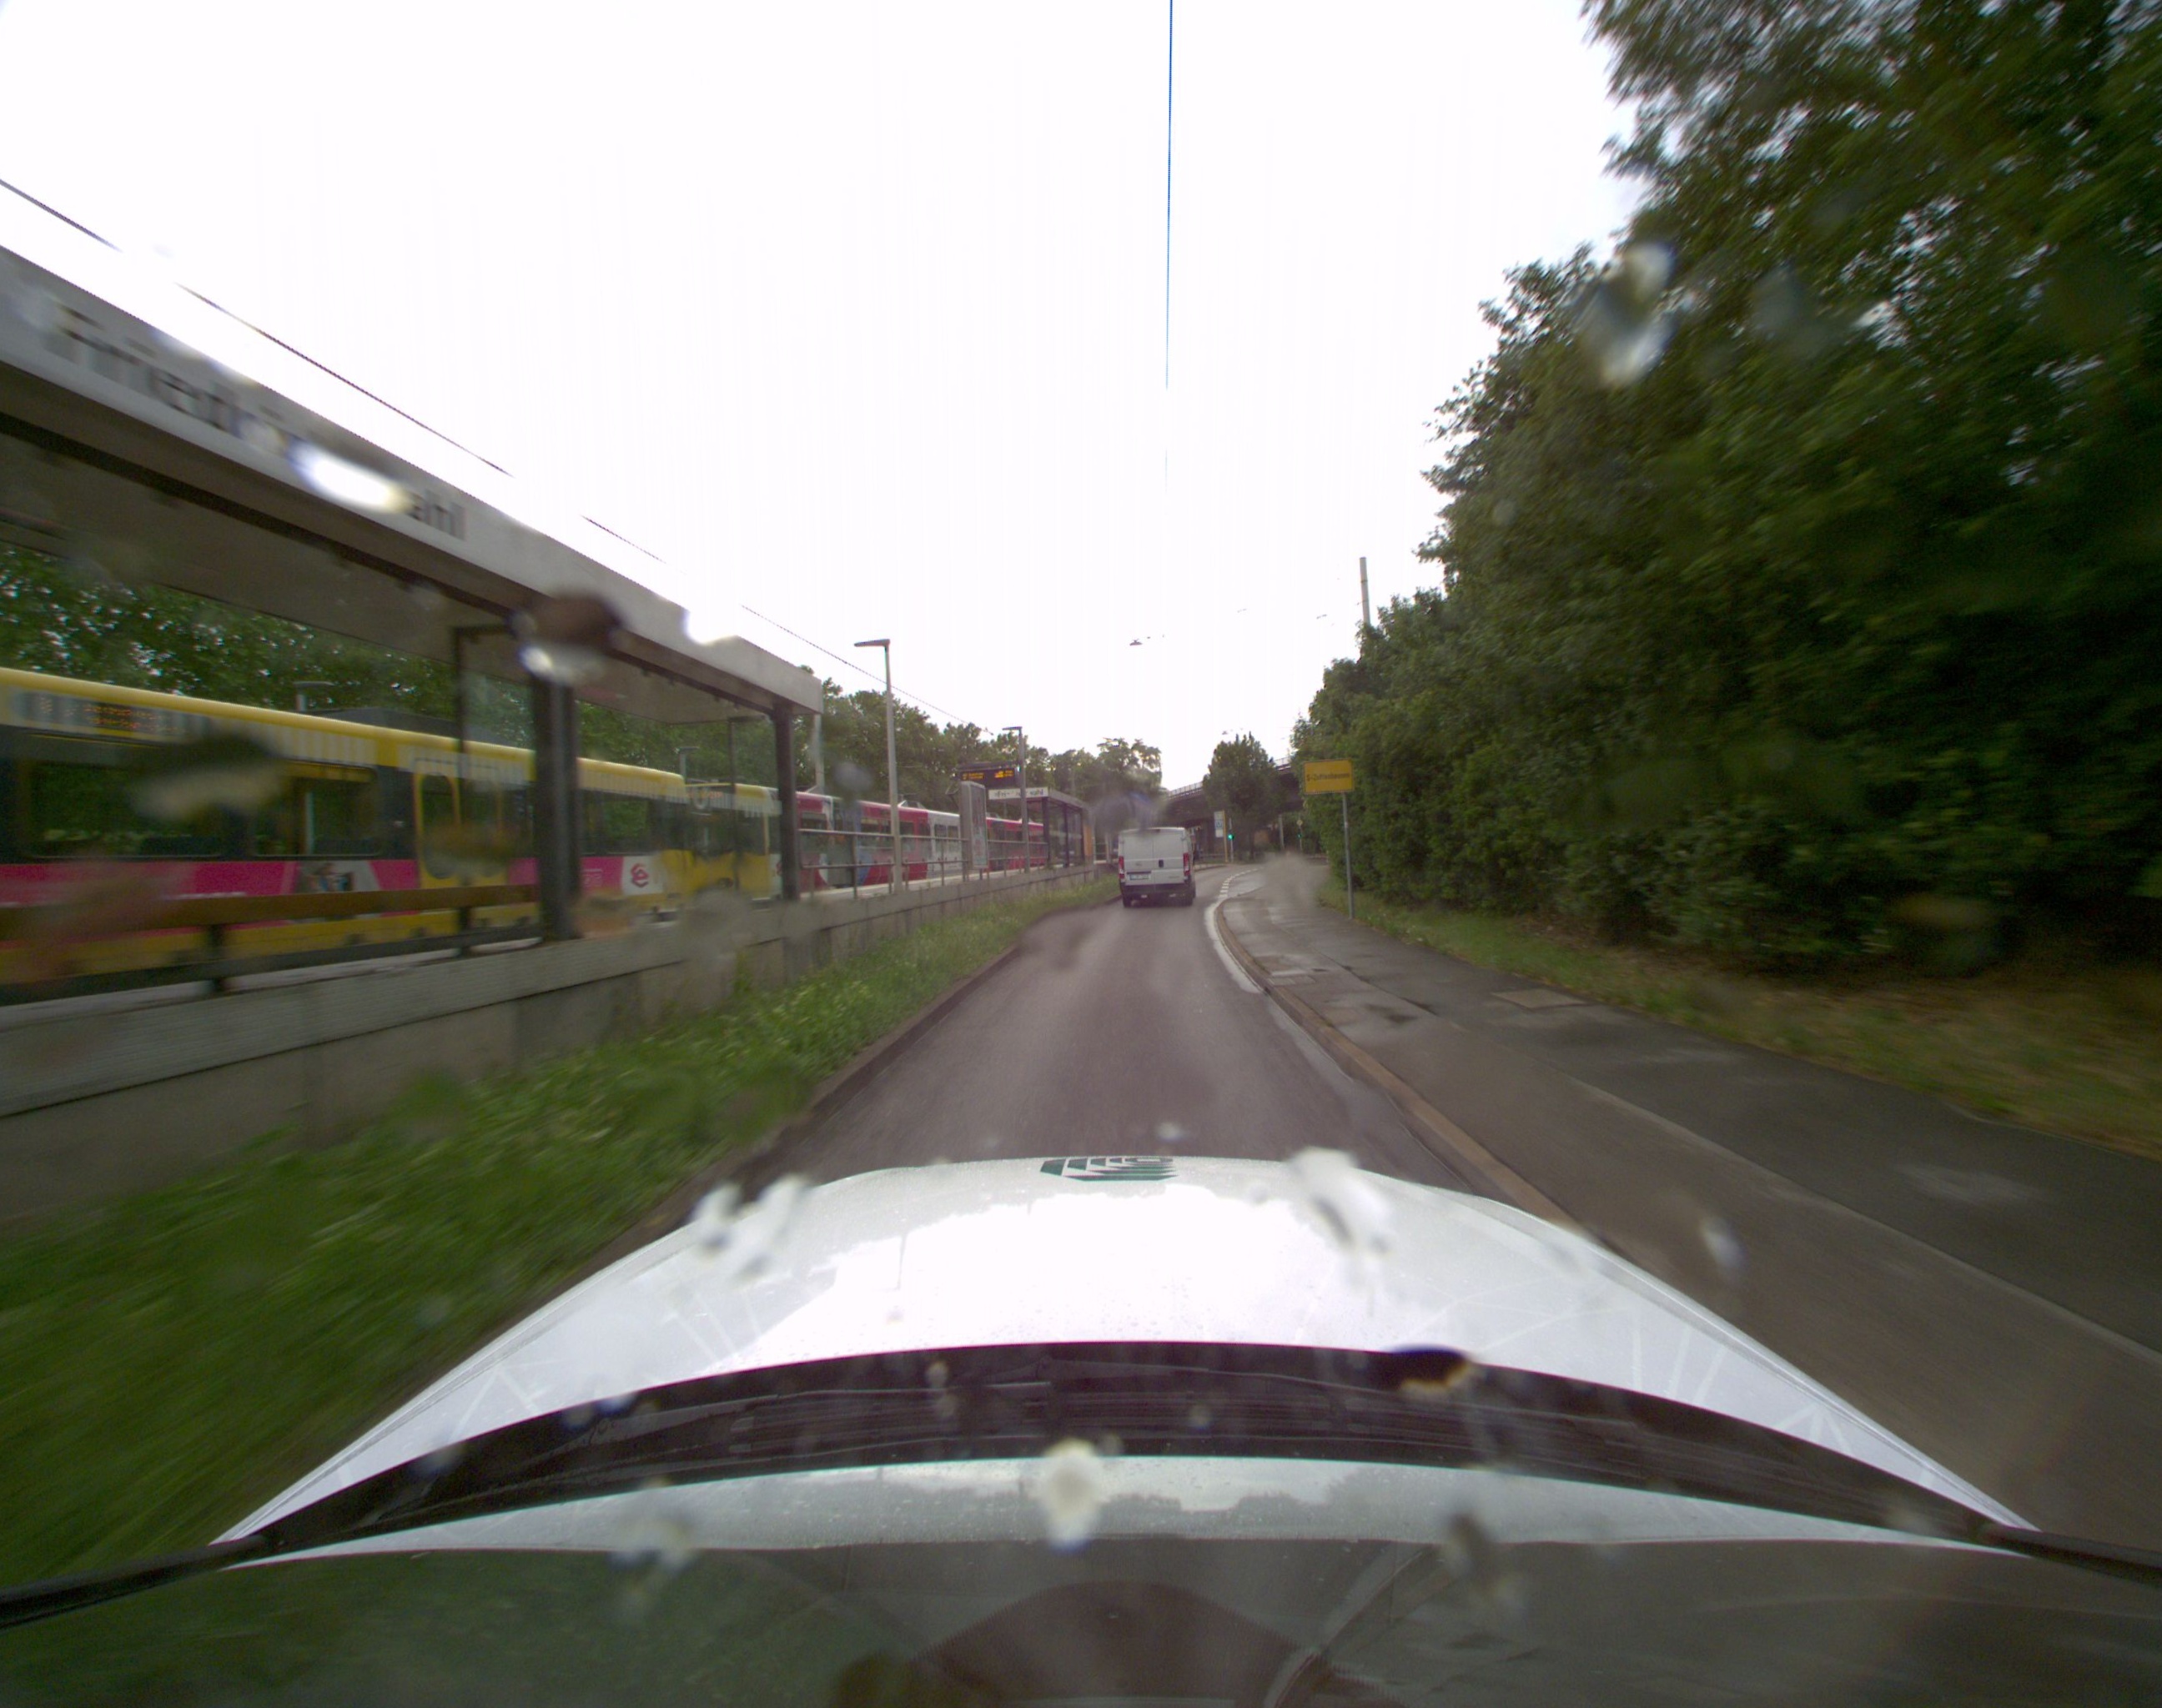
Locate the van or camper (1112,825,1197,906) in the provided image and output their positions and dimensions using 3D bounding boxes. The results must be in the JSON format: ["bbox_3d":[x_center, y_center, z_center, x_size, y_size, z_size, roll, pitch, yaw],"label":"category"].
[{"bbox_3d":[2.361,0.333,24.995,2.185,2.252,4.697,-1,0,10],"label":"van or camper"}]

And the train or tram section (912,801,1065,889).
[{"bbox_3d":[-4.403,-0.360,46.536,2.849,3.961,19.391,-1,0,11],"label":"train or tram section"}]

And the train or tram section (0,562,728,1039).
[{"bbox_3d":[-10.208,-0.427,8.429,2.853,3.954,19.362,-1,0,6],"label":"train or tram section"}]

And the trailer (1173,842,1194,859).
[{"bbox_3d":[17.149,-0.571,136.486,1.996,2.725,4.103,-2,-1,-14],"label":"trailer"}]

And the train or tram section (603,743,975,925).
[{"bbox_3d":[-7.733,-0.401,27.508,2.851,3.971,19.378,-1,0,9],"label":"train or tram section"}]
